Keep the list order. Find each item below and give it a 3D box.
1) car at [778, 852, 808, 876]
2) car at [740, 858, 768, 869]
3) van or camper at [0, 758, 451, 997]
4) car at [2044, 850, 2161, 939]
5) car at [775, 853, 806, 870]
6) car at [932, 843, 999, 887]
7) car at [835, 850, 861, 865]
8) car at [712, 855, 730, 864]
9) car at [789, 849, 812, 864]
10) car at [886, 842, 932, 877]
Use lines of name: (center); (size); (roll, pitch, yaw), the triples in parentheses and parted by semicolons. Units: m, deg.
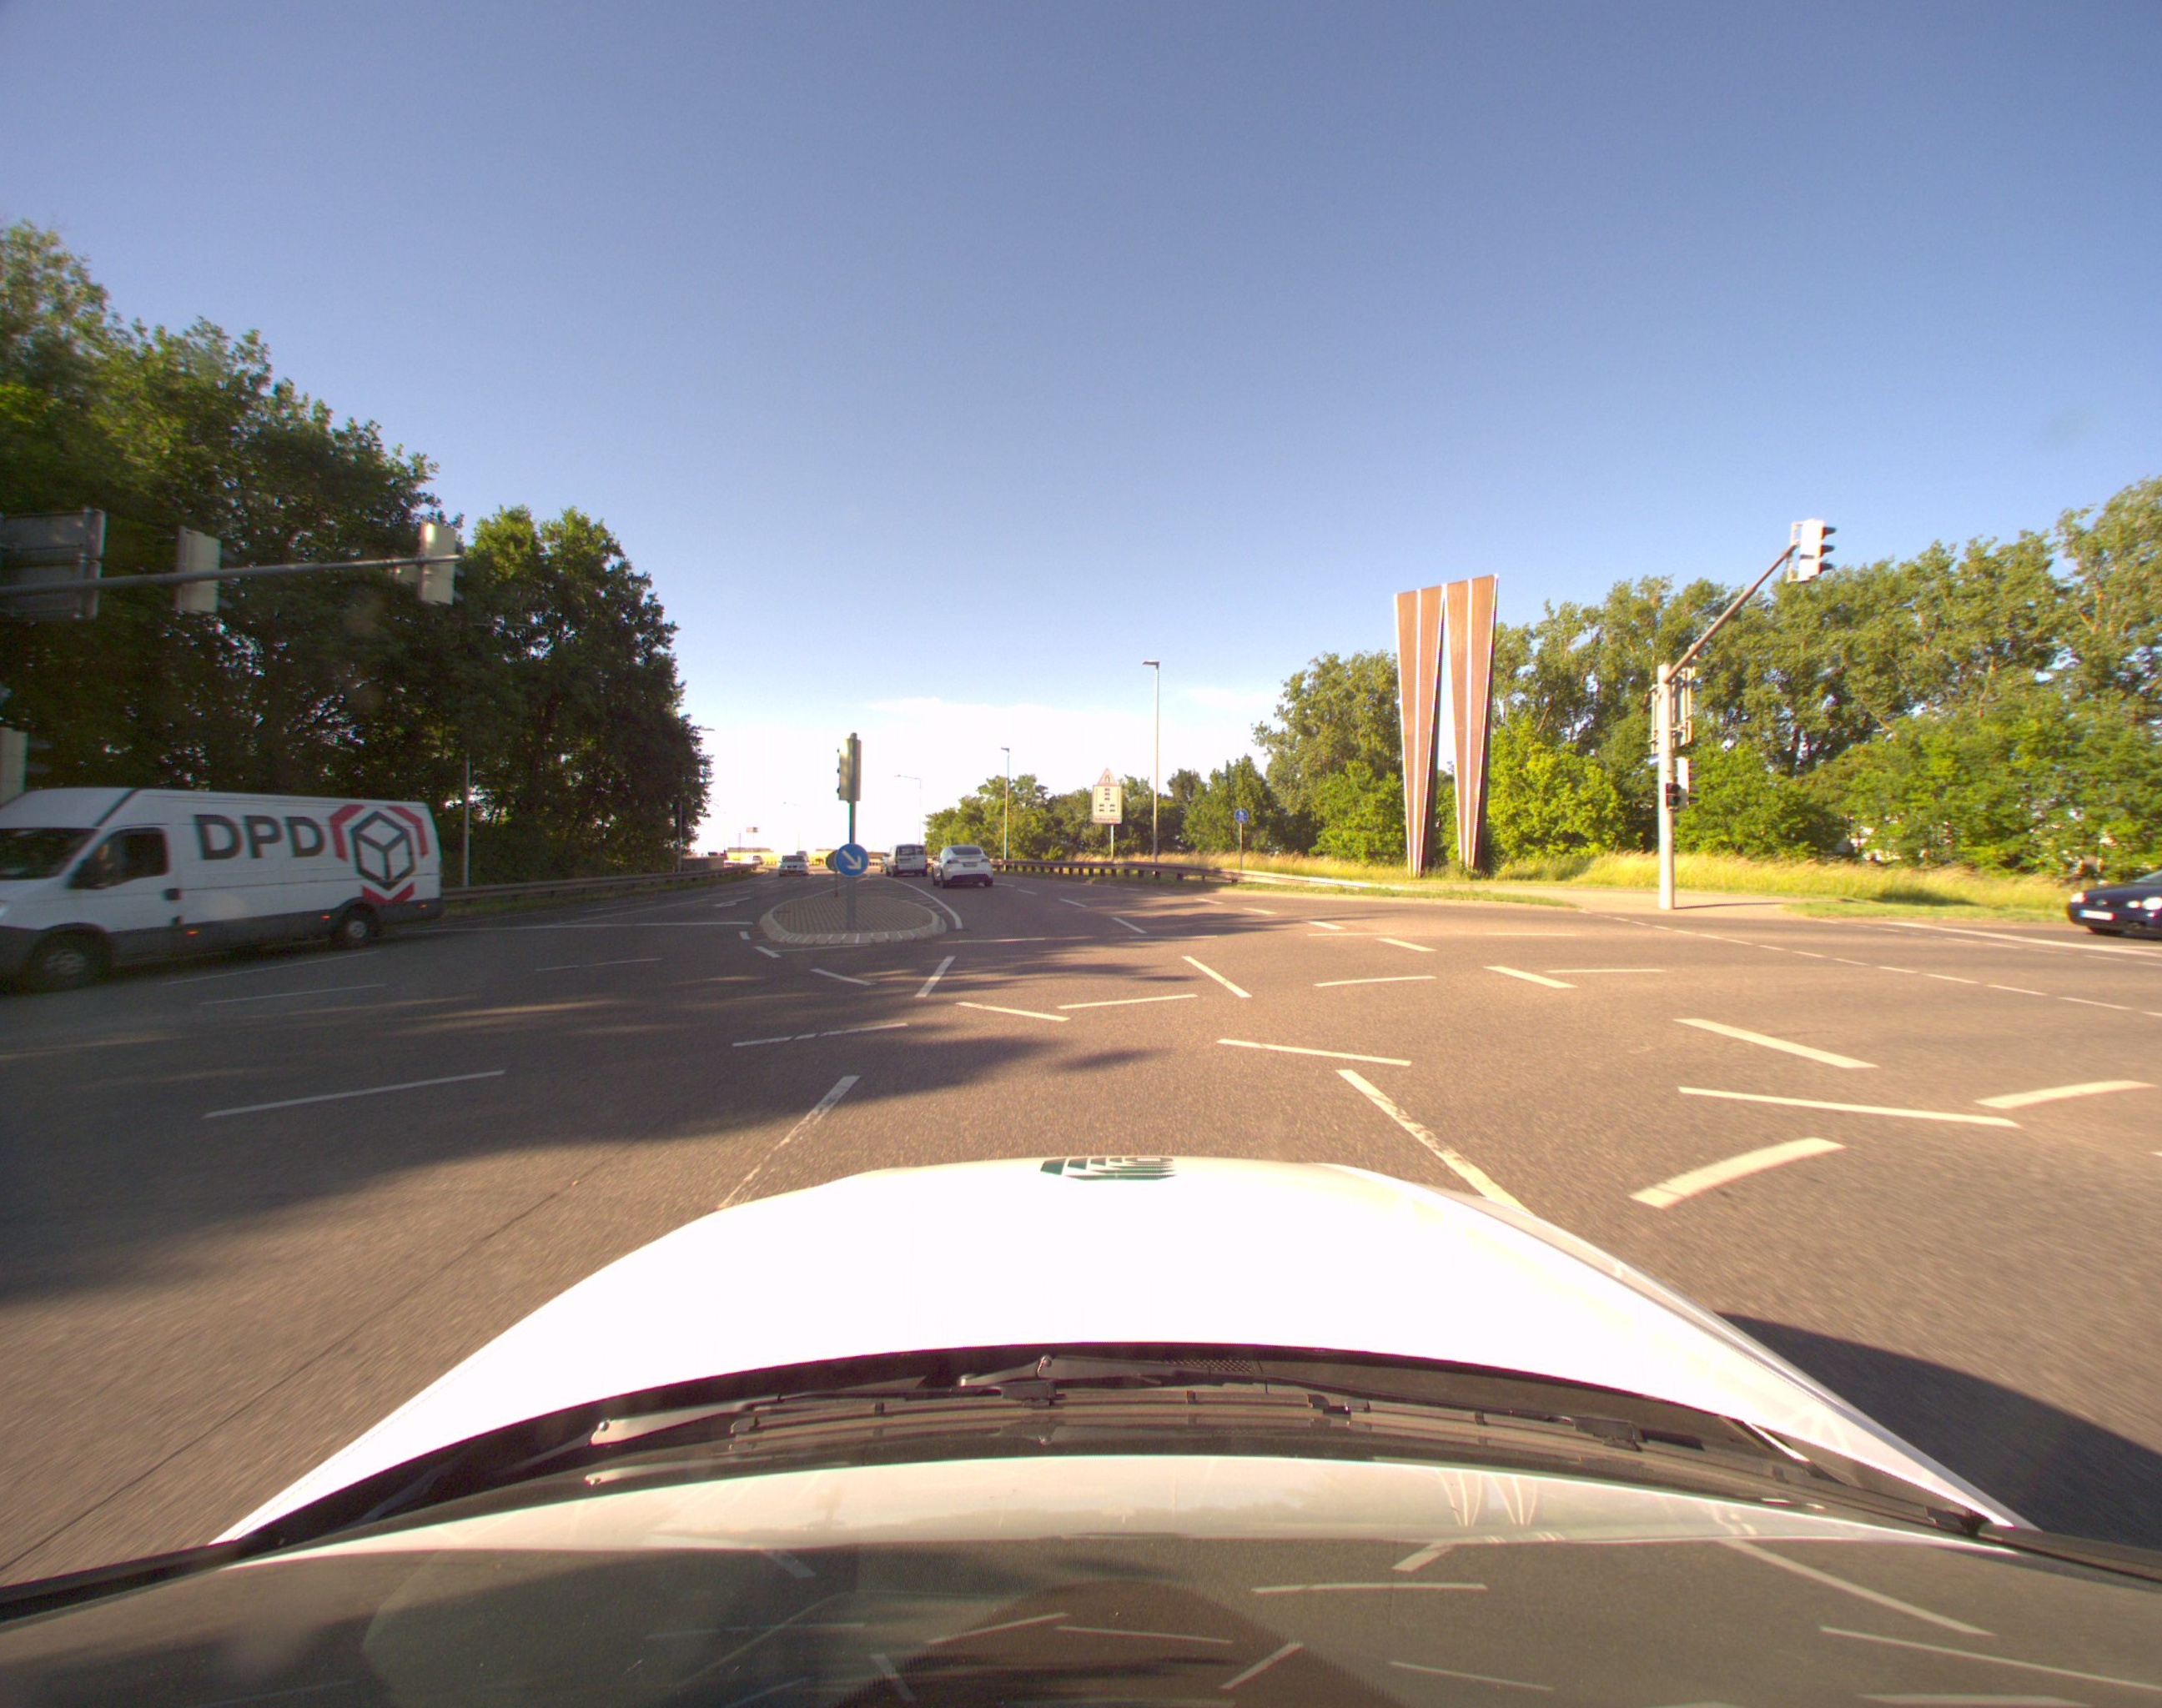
car: (-19.277, 0.643, 54.579); (1.875, 1.474, 3.884); (0, 0, -19)
car: (-45.348, 1.299, 112.860); (2.286, 1.508, 3.952); (1, -1, -42)
van or camper: (-13.178, 0.278, 12.324); (2.044, 2.673, 6.928); (-1, 0, -2)
car: (19.446, 0.700, 13.842); (3.722, 1.403, 1.699); (1, 2, 11)
car: (-24.941, 0.618, 69.775); (2.106, 1.390, 4.374); (0, 0, -25)
car: (-4.622, 0.409, 32.101); (1.999, 1.640, 4.103); (0, 0, -17)
car: (-23.310, 0.300, 81.423); (1.977, 1.474, 4.123); (0, 0, -23)
car: (-54.537, 0.820, 123.366); (1.417, 1.452, 3.309); (0, 0, -45)
car: (-34.443, 0.298, 99.971); (1.981, 1.698, 3.961); (0, 0, -30)
car: (-9.906, 0.307, 46.693); (2.000, 1.879, 4.220); (0, 0, -20)
